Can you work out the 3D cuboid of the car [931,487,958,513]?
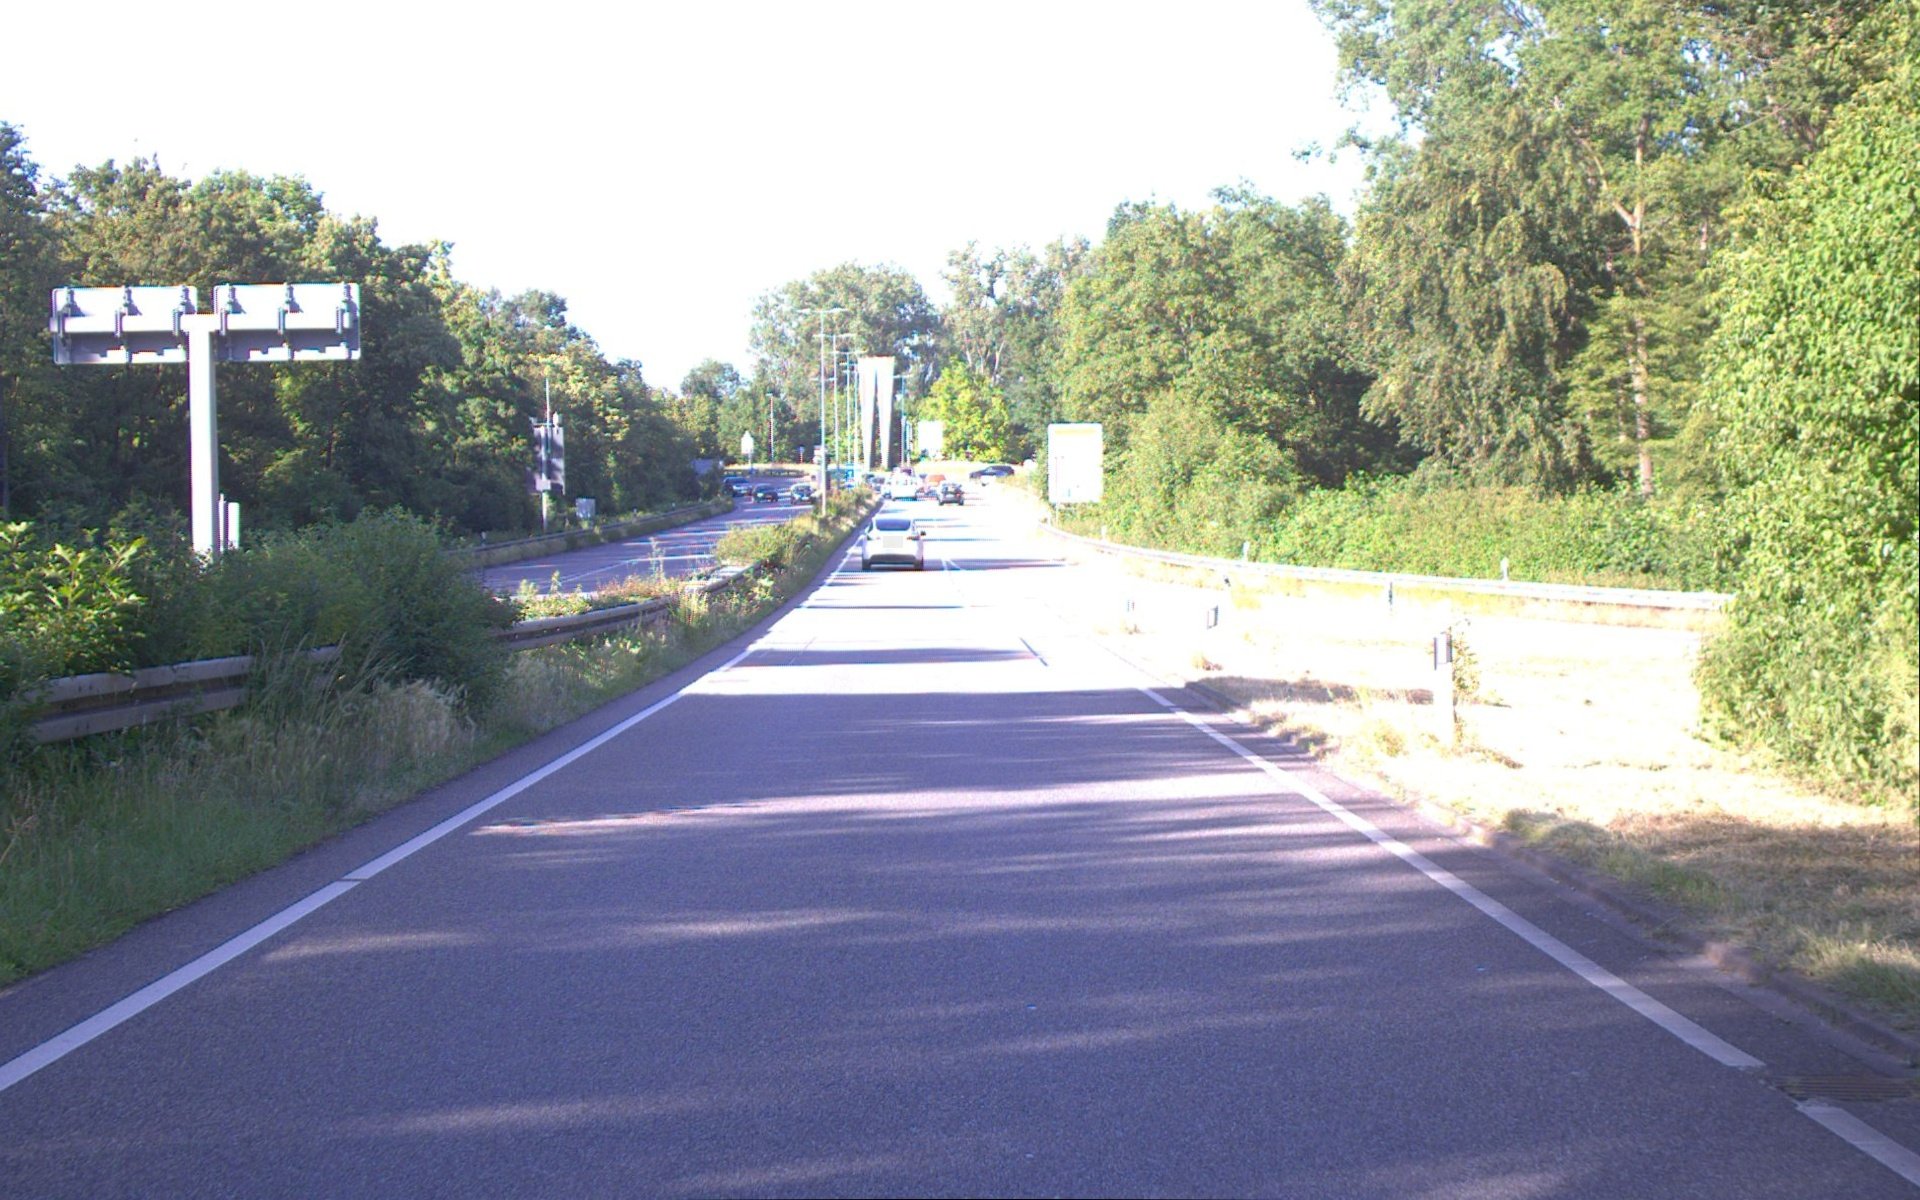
[{"bbox_3d":[-1.142,-7.234,248.986,1.798,1.823,3.417,2,1,1],"label":"car"}]

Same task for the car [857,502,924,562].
[{"bbox_3d":[-2.203,-2.150,107.846,1.884,1.809,4.001,1,1,-4],"label":"car"}]
